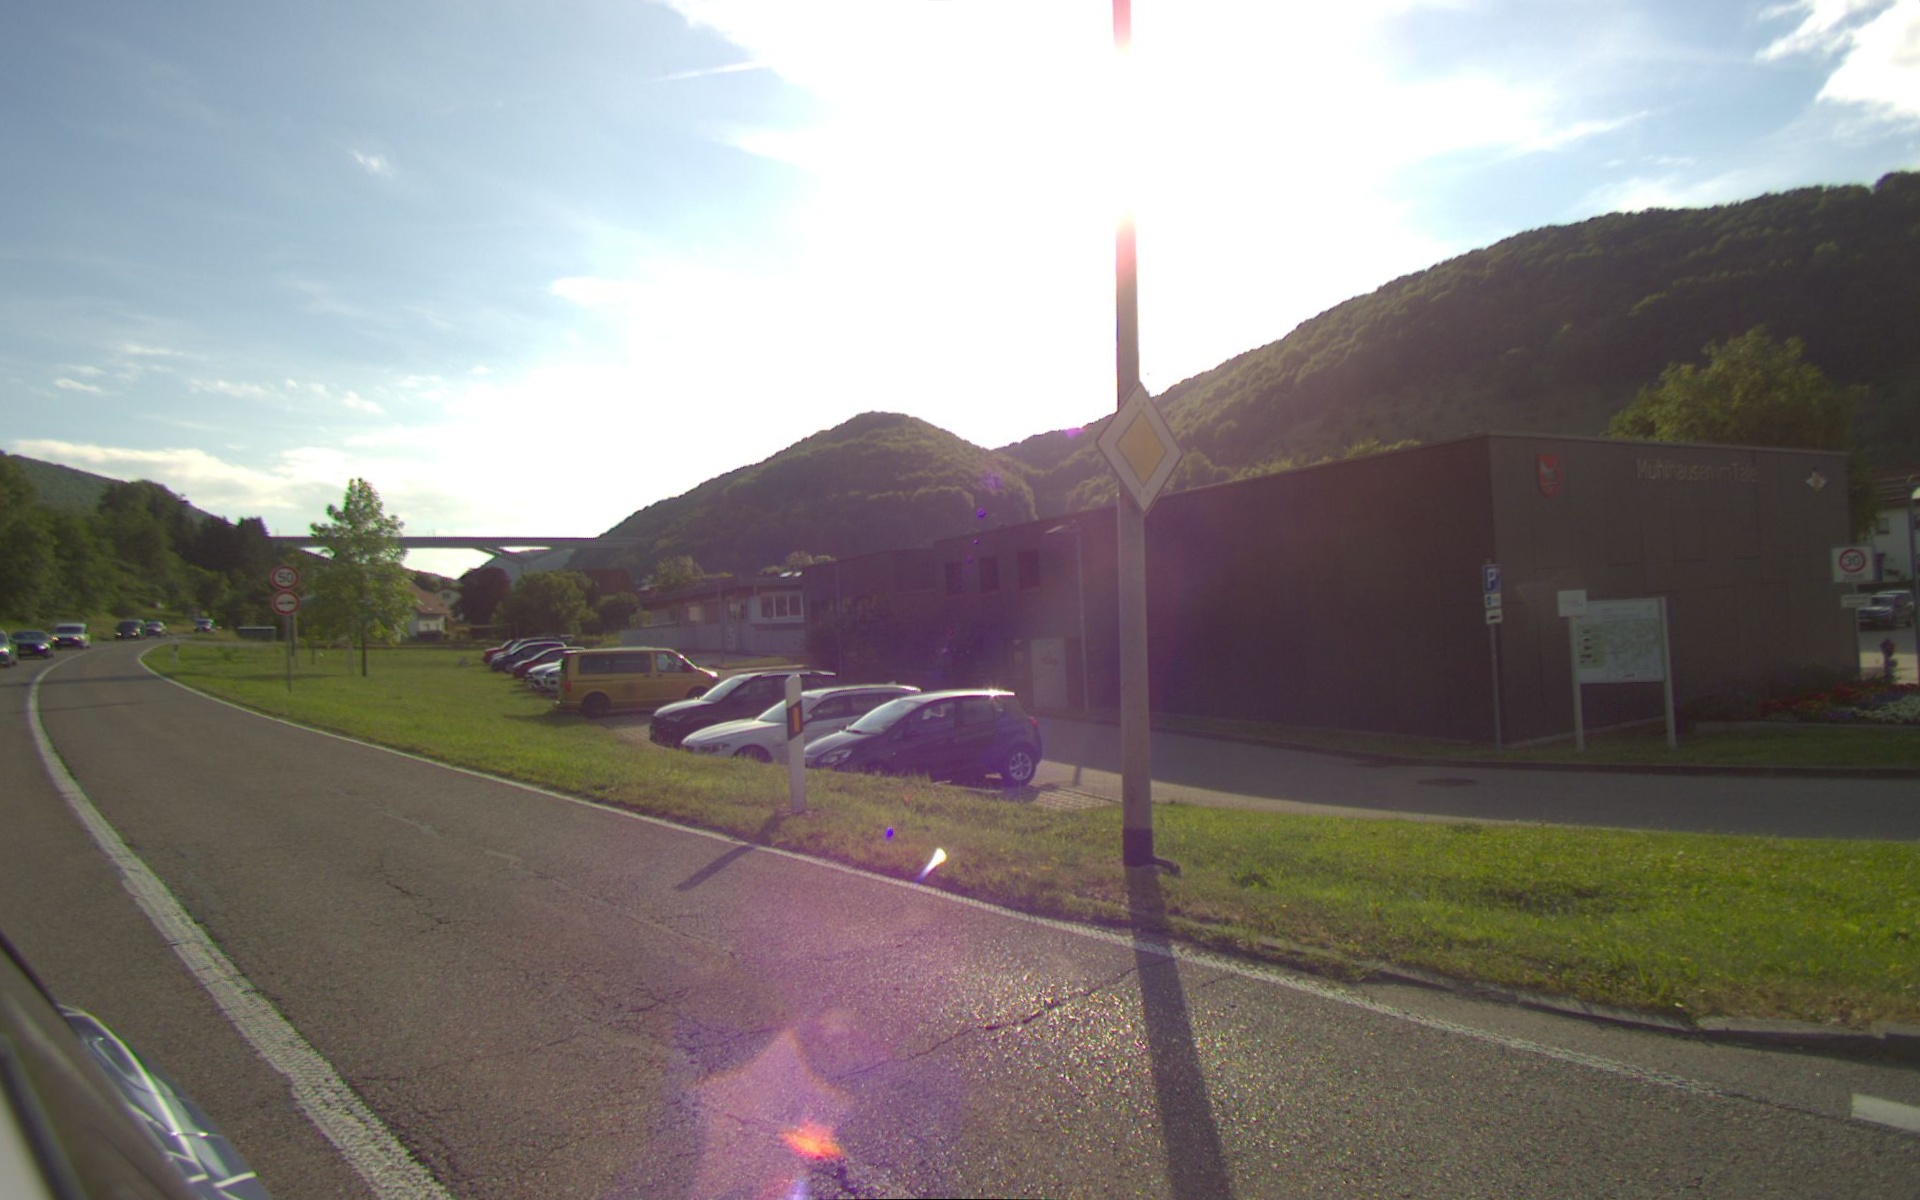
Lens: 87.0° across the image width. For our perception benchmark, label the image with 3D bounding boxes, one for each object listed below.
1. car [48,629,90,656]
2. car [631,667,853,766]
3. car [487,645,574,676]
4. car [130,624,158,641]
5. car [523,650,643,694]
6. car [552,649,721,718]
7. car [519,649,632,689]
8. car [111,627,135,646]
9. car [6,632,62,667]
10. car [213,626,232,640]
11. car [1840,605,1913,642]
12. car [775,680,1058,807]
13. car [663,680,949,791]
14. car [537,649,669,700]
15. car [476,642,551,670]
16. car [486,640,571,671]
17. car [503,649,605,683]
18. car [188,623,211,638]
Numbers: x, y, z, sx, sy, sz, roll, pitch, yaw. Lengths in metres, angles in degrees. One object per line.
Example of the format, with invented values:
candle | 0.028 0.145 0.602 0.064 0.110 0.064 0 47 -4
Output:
car | -61.491 2.916 69.903 1.770 1.749 4.293 0 -2 -36
car | -4.652 2.409 21.775 4.224 1.650 1.918 -1 -1 -32
car | -24.299 3.397 57.298 4.370 1.595 2.006 -1 -2 -28
car | -87.988 3.553 109.145 1.966 1.730 4.011 -1 -2 -33
car | -15.288 2.883 41.058 4.370 1.599 2.006 0 -2 -27
car | -9.744 2.452 30.515 4.582 1.827 2.006 0 -2 -27
car | -16.755 2.966 44.107 4.370 1.595 2.006 0 -2 -29
car | -79.553 3.467 96.197 1.653 1.659 3.352 -1 -2 -39
car | -47.180 2.511 51.609 1.884 1.698 4.007 0 -2 -40
car | -107.746 4.846 147.919 1.880 1.918 4.012 0 -1 -31
car | 41.018 1.037 45.365 1.997 1.525 3.950 -3 -2 37
car | -0.656 2.090 15.540 3.931 1.546 1.839 0 -2 -28
car | -2.652 2.270 17.761 4.575 1.508 1.918 1 -2 -31
car | -13.420 2.753 38.084 4.476 1.714 2.006 0 -2 -27
car | -29.189 3.614 66.176 4.370 1.733 2.006 0 -2 -28
car | -26.316 3.324 61.684 4.594 1.776 2.006 0 -2 -28
car | -19.410 3.135 48.403 4.370 1.463 2.006 0 -2 -27
car | -102.176 4.080 135.975 1.880 1.918 4.013 0 -1 -29
